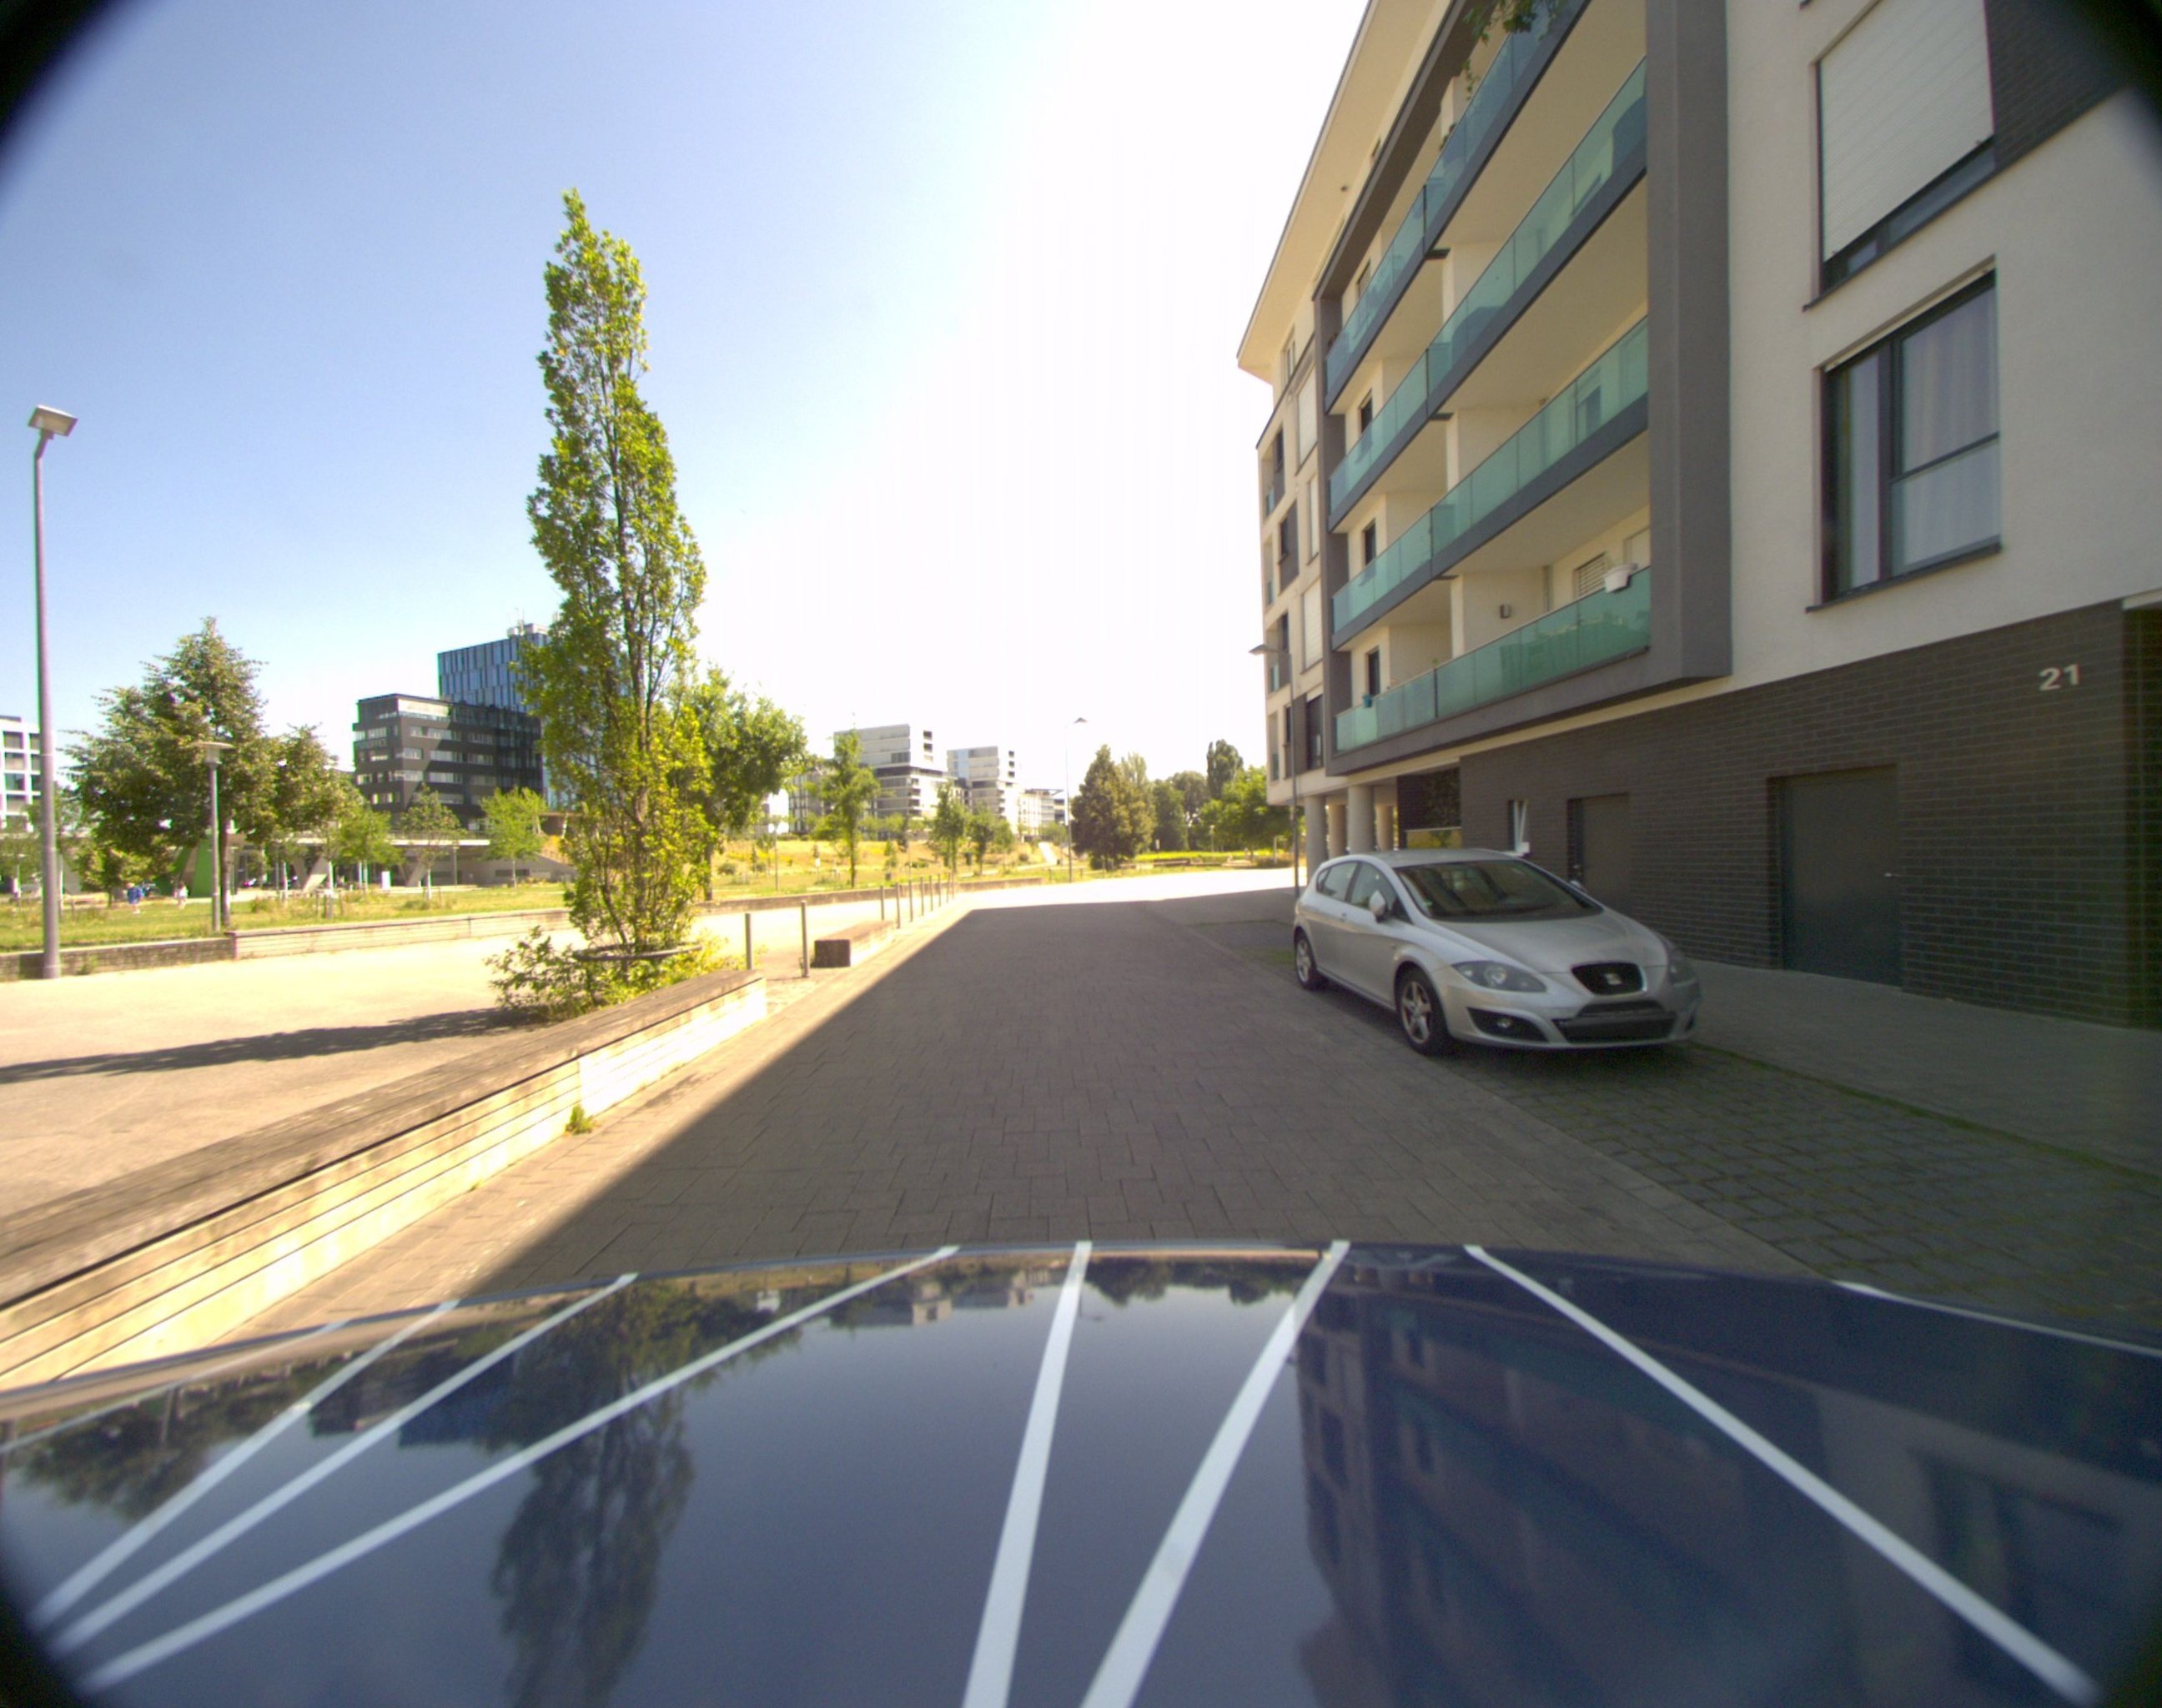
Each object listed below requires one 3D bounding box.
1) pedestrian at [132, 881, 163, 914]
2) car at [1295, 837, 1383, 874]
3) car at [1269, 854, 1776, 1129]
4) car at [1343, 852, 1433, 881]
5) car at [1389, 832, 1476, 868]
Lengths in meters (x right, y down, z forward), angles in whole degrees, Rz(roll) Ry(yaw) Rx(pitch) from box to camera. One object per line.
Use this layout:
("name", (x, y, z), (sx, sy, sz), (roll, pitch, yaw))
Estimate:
("pedestrian", (-51.048, 2.366, 41.548), (0.816, 1.717, 0.614), (-2, 1, -24))
("car", (13.582, 0.066, 40.018), (4.004, 1.772, 1.996), (-2, 1, -22))
("car", (3.169, 0.818, 6.598), (1.787, 1.496, 4.113), (-4, 1, -3))
("car", (15.228, 0.589, 37.721), (4.004, 1.263, 1.776), (-2, 1, -22))
("car", (19.200, -0.238, 41.500), (4.004, 1.772, 2.081), (-2, 1, -22))
